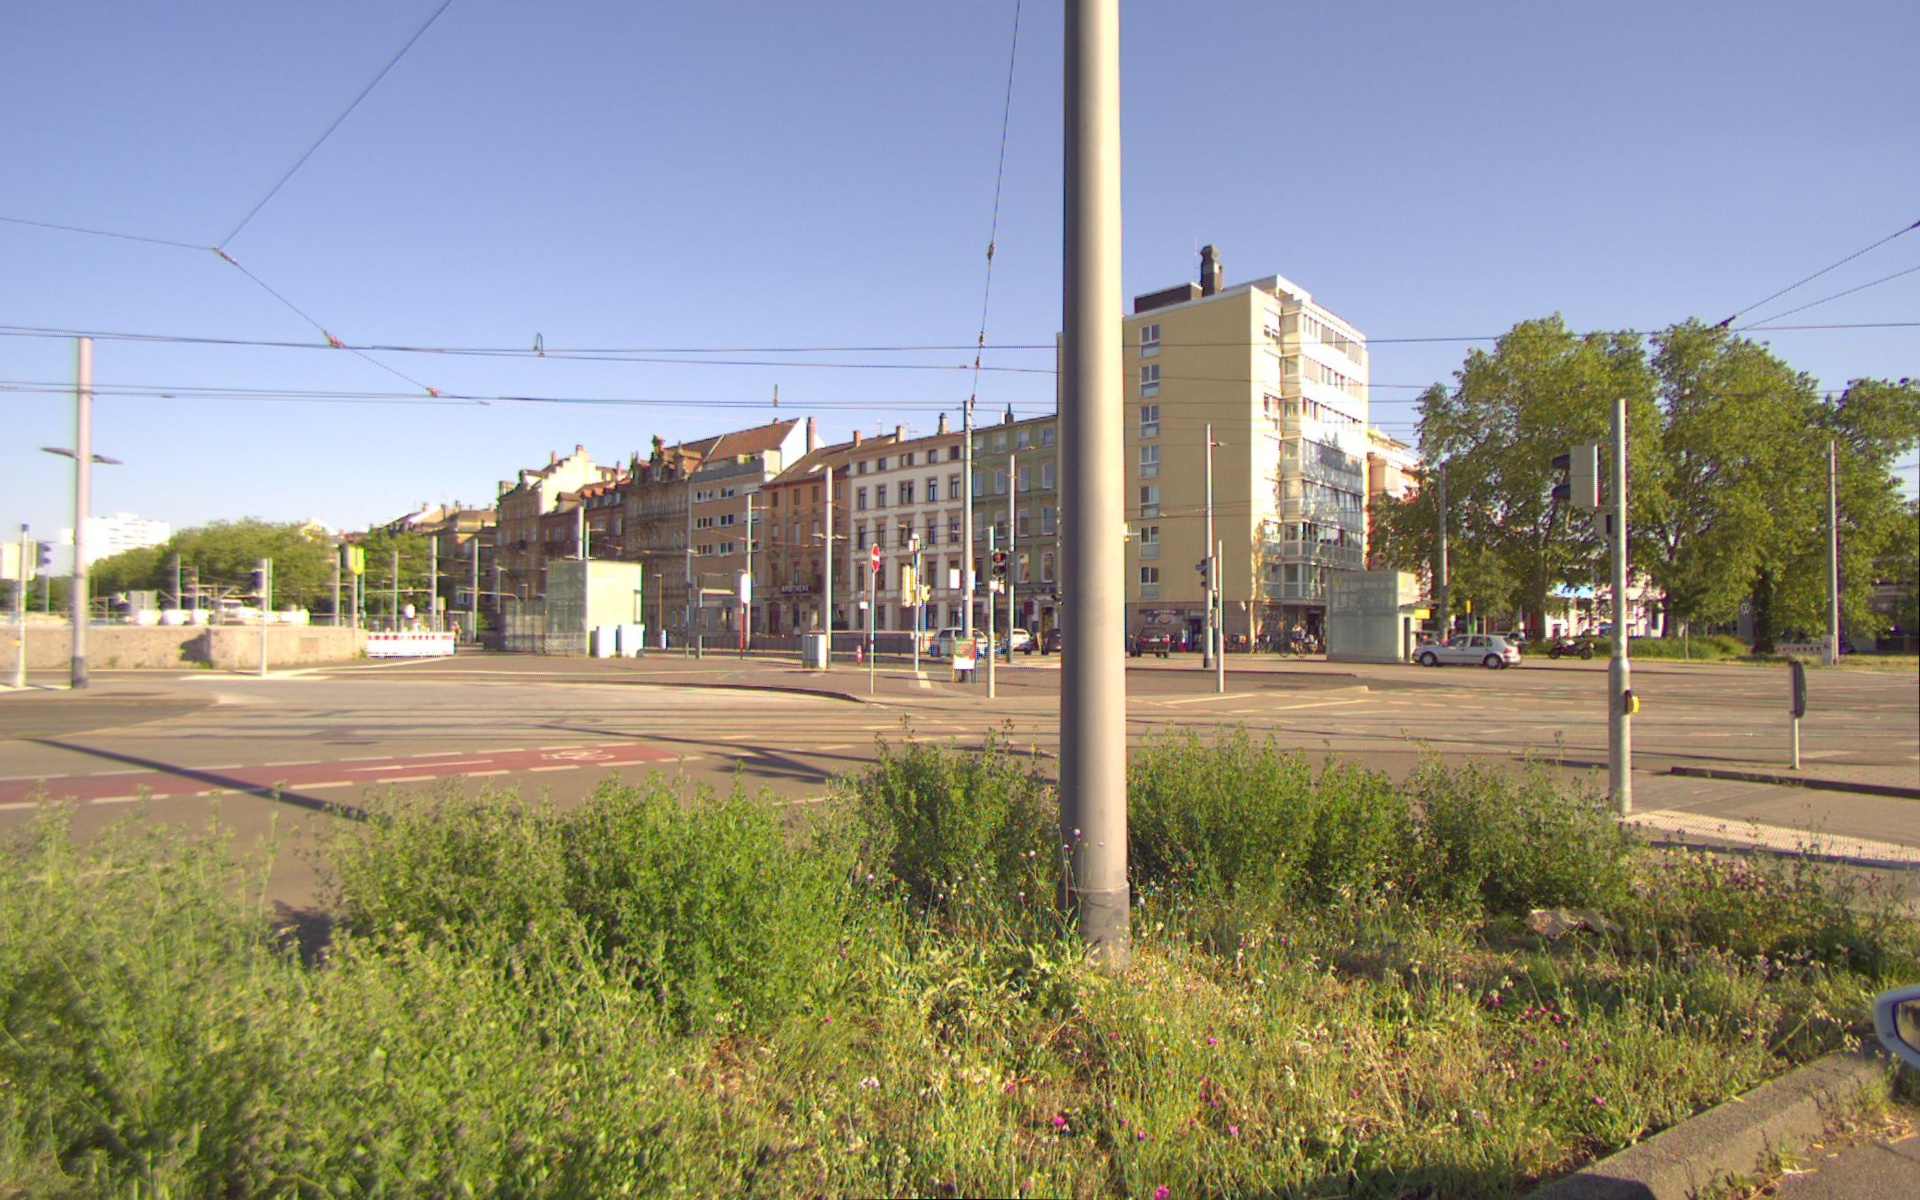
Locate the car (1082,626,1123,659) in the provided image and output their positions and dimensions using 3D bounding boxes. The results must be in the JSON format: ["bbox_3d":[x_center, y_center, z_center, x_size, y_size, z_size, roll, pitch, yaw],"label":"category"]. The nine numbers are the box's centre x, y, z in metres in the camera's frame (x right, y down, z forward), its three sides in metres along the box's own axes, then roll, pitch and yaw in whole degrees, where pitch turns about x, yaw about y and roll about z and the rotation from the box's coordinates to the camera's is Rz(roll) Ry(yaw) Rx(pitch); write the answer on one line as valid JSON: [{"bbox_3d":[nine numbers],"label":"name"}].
[{"bbox_3d":[8.410,2.511,59.736,1.803,1.771,3.999,-1,0,-1],"label":"car"}]

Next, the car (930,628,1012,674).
[{"bbox_3d":[0.522,2.474,49.648,3.691,2.040,1.990,0,0,41],"label":"car"}]

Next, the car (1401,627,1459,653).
[{"bbox_3d":[35.586,3.027,76.115,3.925,1.882,1.851,-1,0,26],"label":"car"}]

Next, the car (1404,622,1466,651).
[{"bbox_3d":[33.788,2.572,71.565,3.925,2.040,1.998,0,-2,26],"label":"car"}]

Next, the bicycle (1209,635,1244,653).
[{"bbox_3d":[16.764,2.749,63.226,2.019,1.104,0.773,-1,-2,42],"label":"bicycle"}]

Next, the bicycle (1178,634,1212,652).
[{"bbox_3d":[15.147,2.764,64.655,2.019,1.104,0.773,-1,-2,42],"label":"bicycle"}]

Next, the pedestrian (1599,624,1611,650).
[{"bbox_3d":[52.119,2.982,81.192,0.702,2.040,0.586,1,-1,-30],"label":"pedestrian"}]

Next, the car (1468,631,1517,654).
[{"bbox_3d":[35.203,2.779,66.350,1.827,1.471,3.976,0,-2,44],"label":"car"}]

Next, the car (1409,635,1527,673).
[{"bbox_3d":[21.285,2.223,42.155,4.049,1.471,1.943,-1,-2,42],"label":"car"}]

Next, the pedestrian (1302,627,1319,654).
[{"bbox_3d":[21.935,2.548,62.916,0.767,1.698,0.778,-1,-2,43],"label":"pedestrian"}]

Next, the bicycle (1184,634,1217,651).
[{"bbox_3d":[15.648,2.758,65.371,2.019,1.104,0.773,-1,-2,42],"label":"bicycle"}]

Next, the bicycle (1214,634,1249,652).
[{"bbox_3d":[17.276,2.743,63.900,2.019,1.104,0.773,-1,-2,42],"label":"bicycle"}]

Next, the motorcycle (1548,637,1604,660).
[{"bbox_3d":[30.776,2.412,50.208,0.682,1.068,2.263,-1,0,-42],"label":"motorcycle"}]

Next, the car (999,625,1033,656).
[{"bbox_3d":[3.557,2.569,64.399,2.045,1.742,4.010,-1,0,1],"label":"car"}]

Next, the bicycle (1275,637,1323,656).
[{"bbox_3d":[19.027,2.617,56.399,0.957,1.016,2.414,2,-2,-45],"label":"bicycle"}]

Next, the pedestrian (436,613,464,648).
[{"bbox_3d":[-31.077,1.859,61.185,1.361,2.040,1.503,-1,0,-34],"label":"pedestrian"}]

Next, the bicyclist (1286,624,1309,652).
[{"bbox_3d":[18.976,2.139,56.470,0.914,1.580,0.957,-1,-2,45],"label":"bicyclist"}]

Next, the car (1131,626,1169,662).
[{"bbox_3d":[10.894,2.478,57.886,1.815,1.882,4.002,-1,0,6],"label":"car"}]

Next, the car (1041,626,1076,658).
[{"bbox_3d":[6.034,2.547,61.887,1.803,1.742,4.000,-1,0,1],"label":"car"}]
